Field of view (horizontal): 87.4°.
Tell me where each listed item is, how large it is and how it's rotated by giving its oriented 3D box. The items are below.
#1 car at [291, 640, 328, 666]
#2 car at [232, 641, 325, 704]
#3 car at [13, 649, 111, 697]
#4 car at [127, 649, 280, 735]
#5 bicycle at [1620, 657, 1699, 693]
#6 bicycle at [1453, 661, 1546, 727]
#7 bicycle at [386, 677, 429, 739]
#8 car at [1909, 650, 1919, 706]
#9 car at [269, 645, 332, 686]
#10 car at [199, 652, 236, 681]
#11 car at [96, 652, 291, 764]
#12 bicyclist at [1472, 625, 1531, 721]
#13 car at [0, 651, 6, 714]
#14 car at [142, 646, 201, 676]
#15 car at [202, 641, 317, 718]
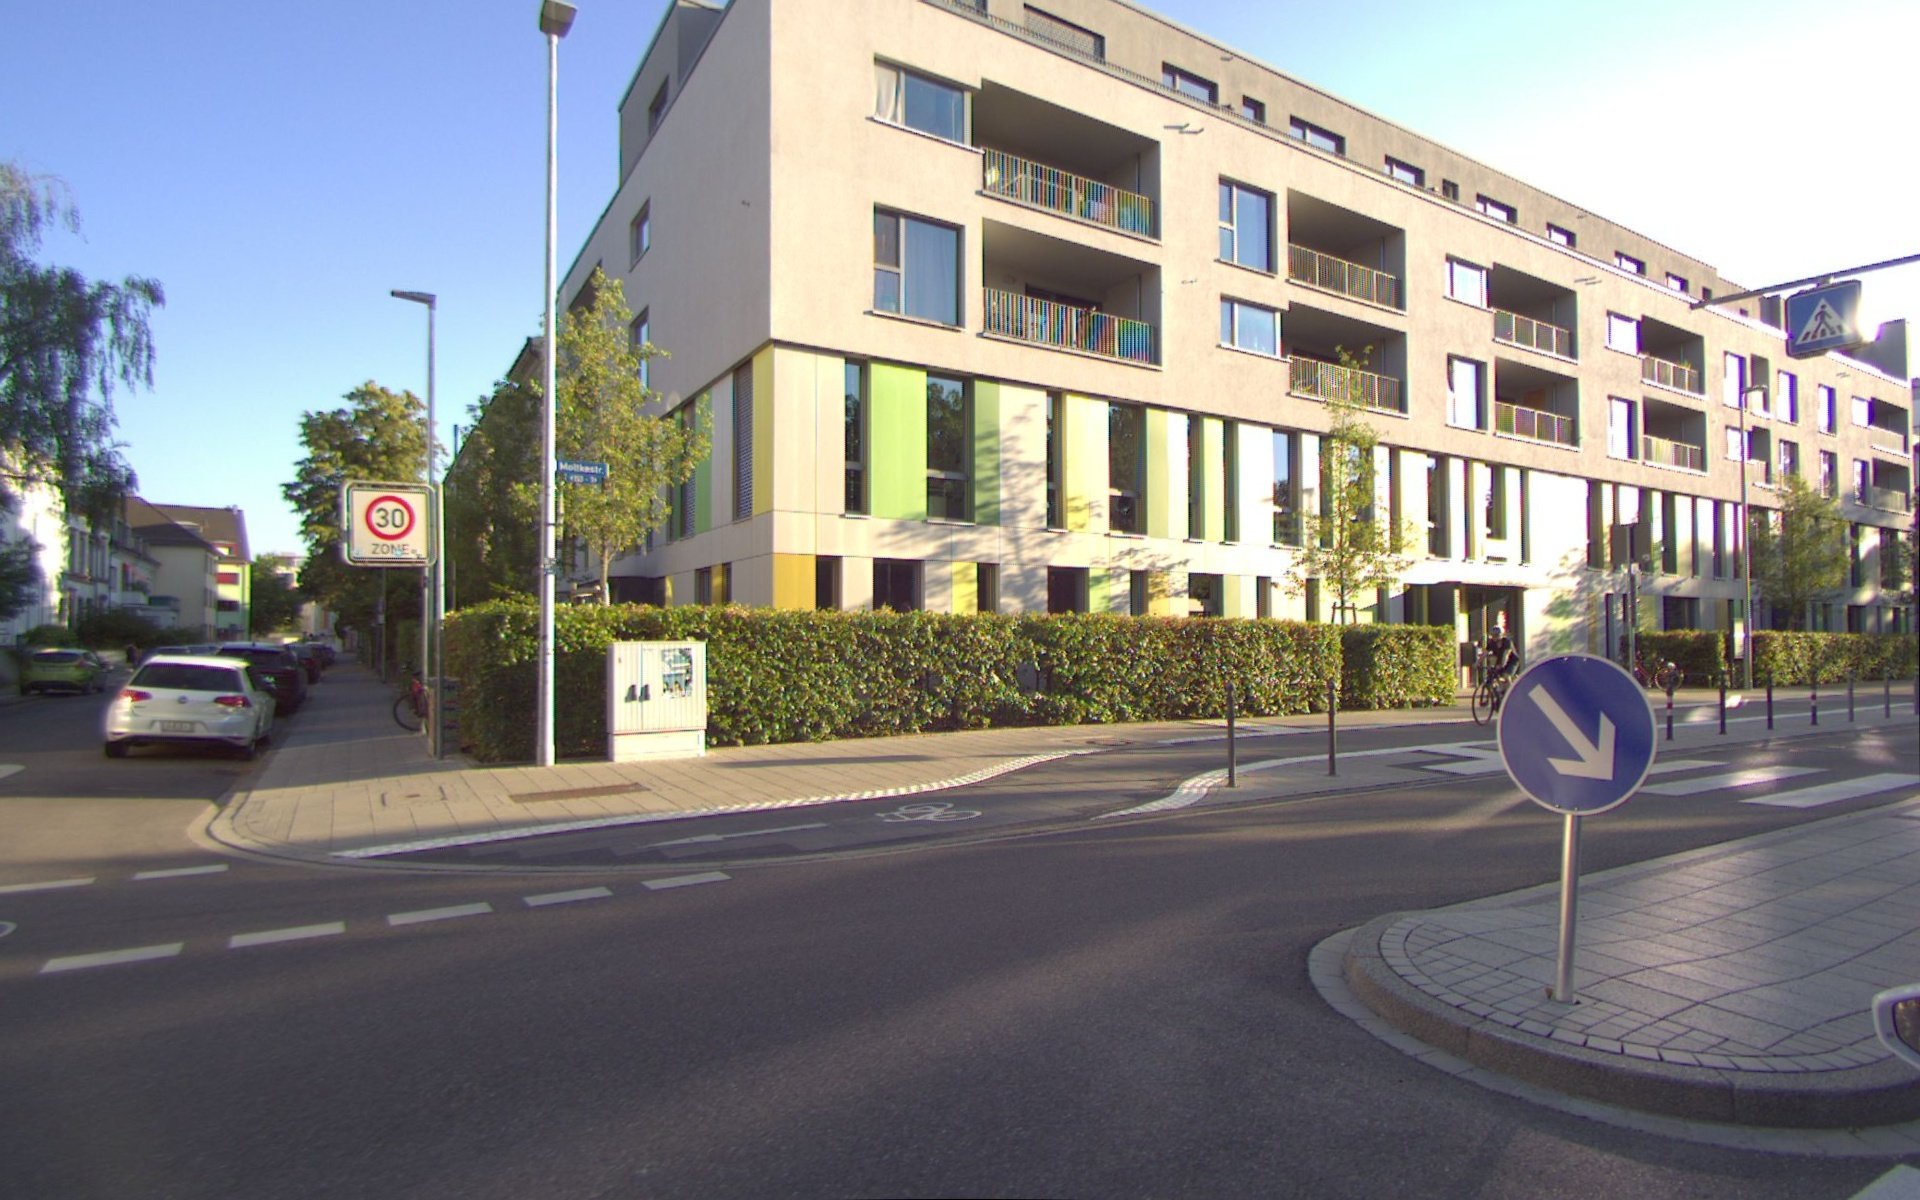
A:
[{"bbox_3d":[-43.119,3.484,66.644,1.874,1.661,3.713,1,-3,-30],"label":"car"},{"bbox_3d":[-19.267,2.033,28.550,1.734,1.576,3.888,7,-5,-30],"label":"car"},{"bbox_3d":[-29.296,2.343,32.891,1.885,1.457,3.882,1,-3,-35],"label":"car"},{"bbox_3d":[-14.393,1.722,19.326,1.734,1.394,3.888,7,-5,-30],"label":"car"},{"bbox_3d":[19.746,2.106,28.382,0.611,0.930,1.741,1,-1,-33],"label":"bicycle"},{"bbox_3d":[9.630,1.641,17.894,1.863,1.092,0.630,1,-3,-33],"label":"bicycle"},{"bbox_3d":[-9.058,1.747,16.458,0.506,0.904,1.589,1,-3,-33],"label":"bicycle"},{"bbox_3d":[25.759,1.924,25.237,4.348,1.374,1.733,1,-3,-32],"label":"car"},{"bbox_3d":[-26.906,2.647,41.079,1.874,1.556,3.713,1,-3,-30],"label":"car"},{"bbox_3d":[-54.645,4.850,73.944,1.980,2.040,3.963,1,-3,-34],"label":"car"},{"bbox_3d":[-11.862,1.625,15.821,1.798,1.456,3.888,7,-5,-30],"label":"car"},{"bbox_3d":[9.653,1.293,17.919,0.749,1.666,0.623,1,-2,-32],"label":"bicyclist"},{"bbox_3d":[-22.151,1.842,21.425,1.884,1.457,3.884,1,-2,-33],"label":"car"},{"bbox_3d":[-41.203,3.158,52.567,1.882,1.457,3.888,1,-3,-30],"label":"car"},{"bbox_3d":[-16.409,1.835,23.716,1.734,1.576,3.888,7,-5,-30],"label":"car"}]
